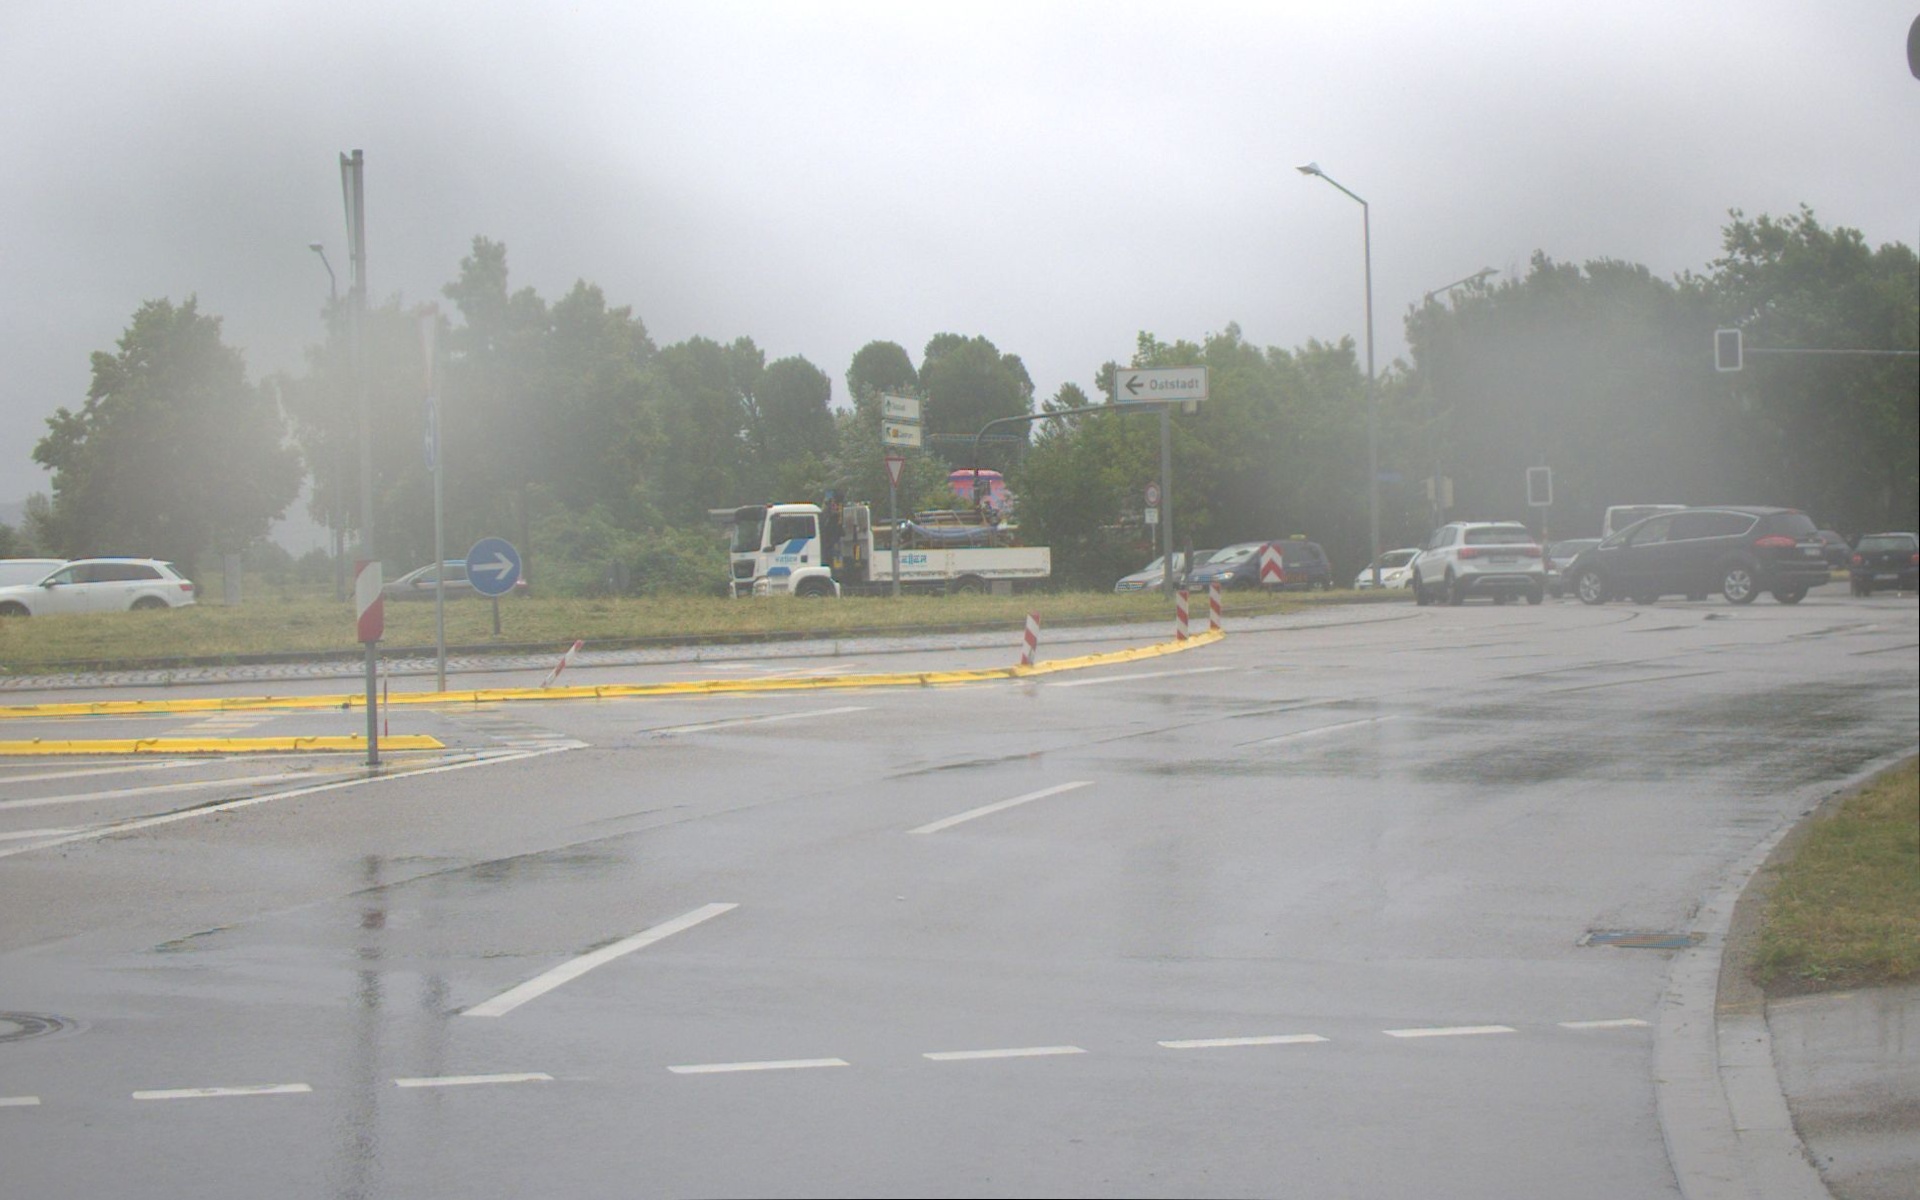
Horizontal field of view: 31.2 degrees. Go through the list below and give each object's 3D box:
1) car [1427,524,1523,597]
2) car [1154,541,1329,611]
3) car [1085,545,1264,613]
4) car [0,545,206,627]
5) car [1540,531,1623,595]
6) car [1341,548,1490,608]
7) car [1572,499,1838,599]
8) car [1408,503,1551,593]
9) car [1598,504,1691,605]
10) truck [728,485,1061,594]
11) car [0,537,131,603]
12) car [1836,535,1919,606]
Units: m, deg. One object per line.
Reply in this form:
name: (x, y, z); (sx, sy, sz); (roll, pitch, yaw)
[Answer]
car: (10.866, -0.833, 72.383); (1.690, 1.487, 3.249); (1, 1, 14)
car: (7.207, -0.595, 87.526); (1.776, 1.738, 4.853); (1, 1, 43)
car: (5.736, -0.549, 91.484); (4.852, 1.738, 1.777); (0, 1, -40)
car: (-19.231, -0.315, 76.134); (4.848, 1.738, 1.778); (1, 0, -16)
car: (14.860, -0.874, 82.084); (1.690, 1.487, 3.249); (1, 1, 15)
car: (13.683, -0.662, 103.174); (4.853, 1.738, 1.777); (0, 1, -44)
car: (12.575, -0.866, 58.142); (3.995, 1.642, 1.785); (1, 1, 37)
car: (9.780, -0.973, 64.980); (1.680, 1.642, 3.948); (1, 1, -6)
car: (14.314, -0.948, 72.035); (1.784, 2.029, 3.998); (1, 1, 10)
truck: (-1.664, -1.556, 90.497); (8.767, 2.702, 2.000); (0, 1, -28)
car: (-21.653, -0.705, 80.055); (4.533, 1.487, 1.612); (1, 0, -13)
car: (20.777, -0.672, 75.864); (1.692, 1.487, 3.244); (0, 1, 36)
